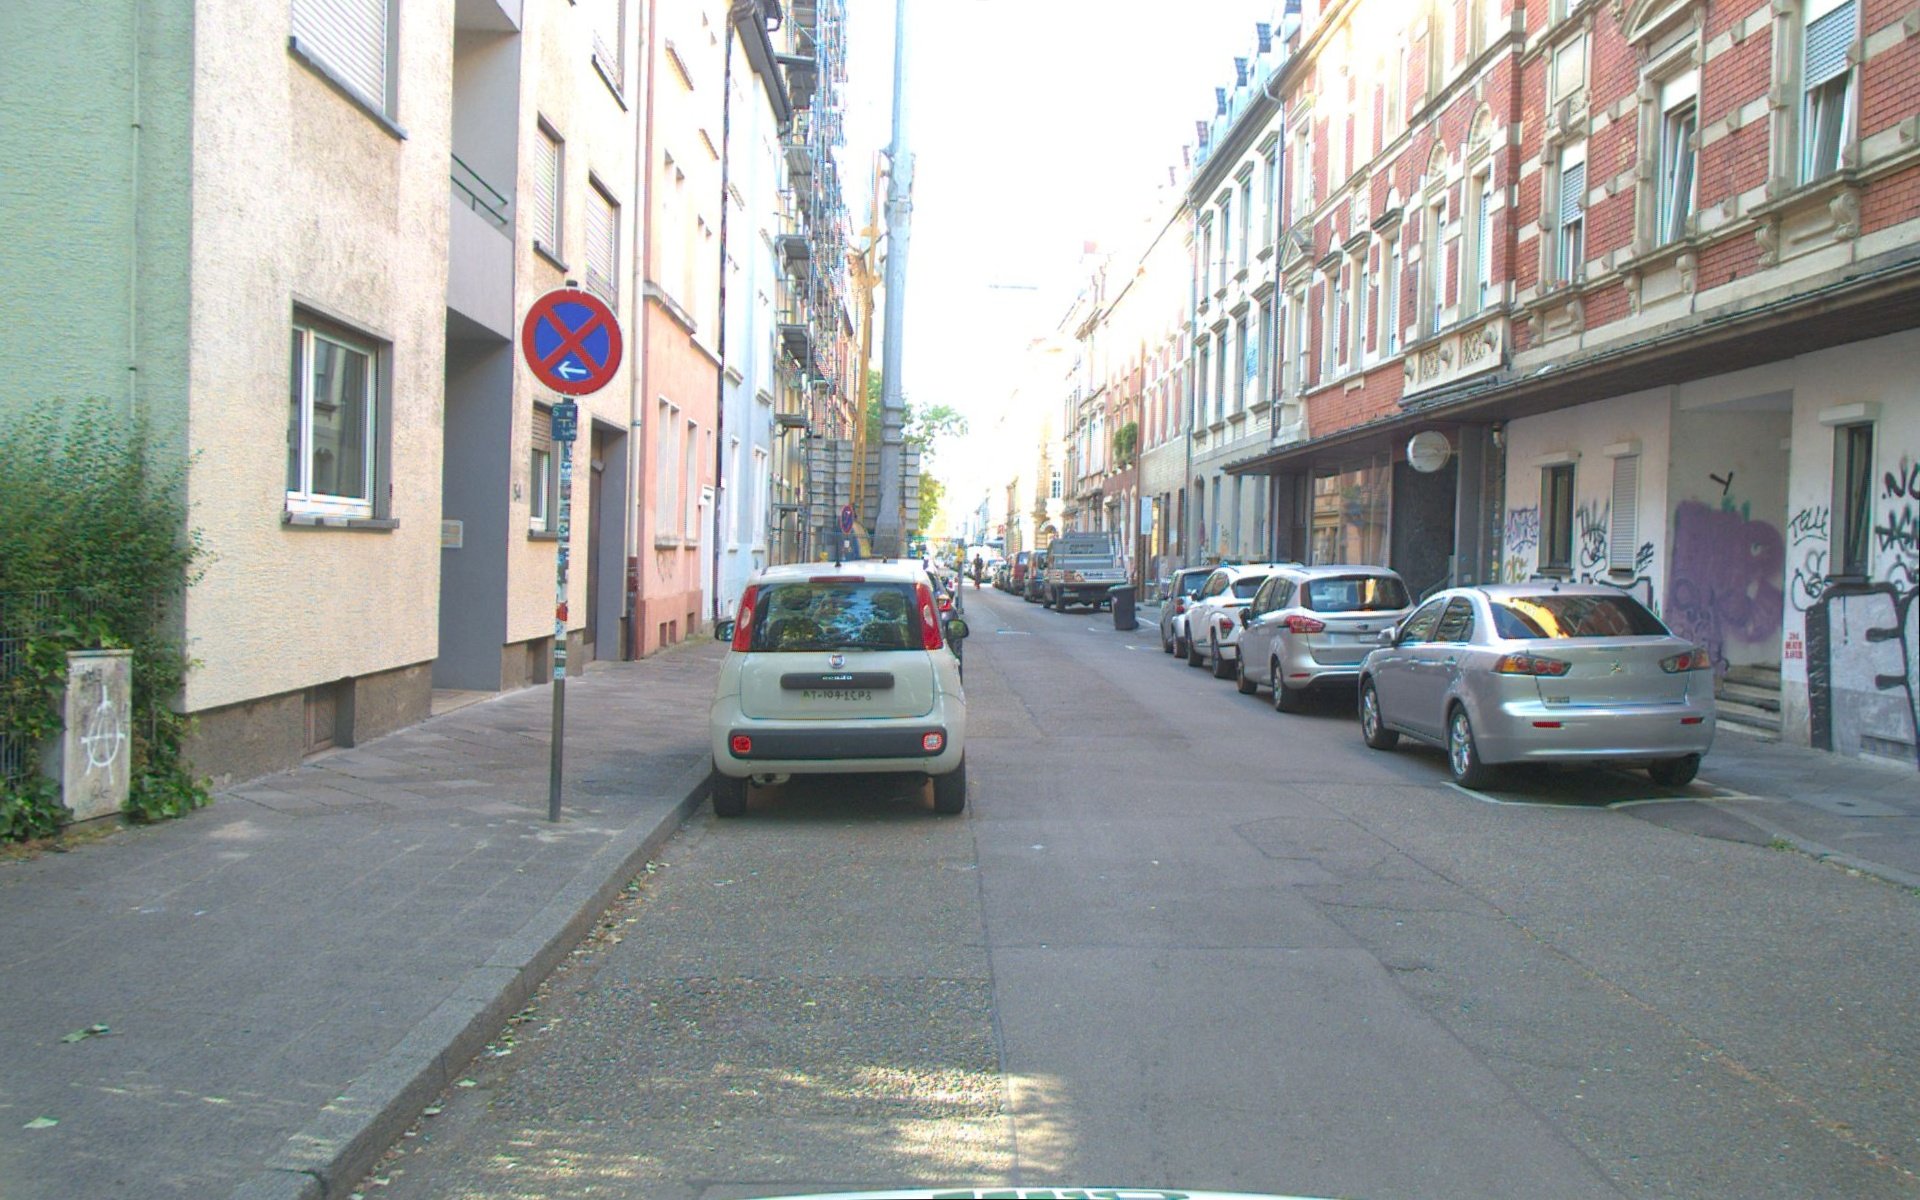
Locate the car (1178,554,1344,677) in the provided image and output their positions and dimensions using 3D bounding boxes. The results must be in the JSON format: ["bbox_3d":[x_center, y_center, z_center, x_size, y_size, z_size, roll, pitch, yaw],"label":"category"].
[{"bbox_3d":[4.505,0.171,25.343,1.711,1.704,4.341,1,1,0],"label":"car"}]

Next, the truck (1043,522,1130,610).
[{"bbox_3d":[3.954,-1.095,52.555,2.146,2.652,5.232,0,1,-2],"label":"truck"}]

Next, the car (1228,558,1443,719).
[{"bbox_3d":[4.347,0.371,19.696,1.606,1.685,3.869,2,1,0],"label":"car"}]

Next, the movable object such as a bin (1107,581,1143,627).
[{"bbox_3d":[4.013,0.087,40.238,0.779,1.074,0.660,1,1,-1],"label":"movable object such as a bin"}]

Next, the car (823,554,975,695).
[{"bbox_3d":[-0.807,0.223,20.627,1.695,1.566,4.375,0,1,-3],"label":"car"}]

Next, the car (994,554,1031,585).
[{"bbox_3d":[2.807,-1.636,89.014,1.641,1.598,3.867,1,1,-4],"label":"car"}]

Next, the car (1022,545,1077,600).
[{"bbox_3d":[3.379,-1.049,63.048,1.641,1.997,4.107,1,1,-4],"label":"car"}]

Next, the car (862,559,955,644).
[{"bbox_3d":[-0.980,-0.025,31.923,1.641,1.503,4.607,1,1,-1],"label":"car"}]

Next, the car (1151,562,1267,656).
[{"bbox_3d":[4.531,0.114,30.560,1.564,1.587,3.814,1,1,0],"label":"car"}]

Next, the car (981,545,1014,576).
[{"bbox_3d":[2.527,-2.742,113.433,1.954,2.048,3.999,2,2,-3],"label":"car"}]

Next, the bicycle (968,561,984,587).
[{"bbox_3d":[0.794,-1.308,83.064,0.710,1.207,2.042,2,2,-1],"label":"bicycle"}]

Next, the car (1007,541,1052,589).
[{"bbox_3d":[3.129,-1.600,75.532,1.641,2.066,3.867,1,1,-4],"label":"car"}]

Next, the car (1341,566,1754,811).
[{"bbox_3d":[4.545,0.570,13.564,1.686,1.589,4.398,2,2,-1],"label":"car"}]

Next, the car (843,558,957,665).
[{"bbox_3d":[-0.925,0.120,26.370,1.641,1.538,4.414,1,1,-1],"label":"car"}]

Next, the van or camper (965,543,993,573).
[{"bbox_3d":[1.628,-3.584,142.022,1.955,2.552,4.198,0,1,-5],"label":"van or camper"}]

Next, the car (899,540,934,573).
[{"bbox_3d":[-2.227,-2.213,83.530,1.641,1.598,3.867,1,1,-4],"label":"car"}]

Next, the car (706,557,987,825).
[{"bbox_3d":[-0.776,0.489,11.640,1.641,1.566,3.867,0,1,-3],"label":"car"}]

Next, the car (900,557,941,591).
[{"bbox_3d":[-1.763,-1.170,73.384,1.641,1.470,3.867,1,1,-4],"label":"car"}]

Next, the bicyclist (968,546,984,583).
[{"bbox_3d":[0.817,-1.787,83.053,0.715,1.791,0.835,2,2,-1],"label":"bicyclist"}]
